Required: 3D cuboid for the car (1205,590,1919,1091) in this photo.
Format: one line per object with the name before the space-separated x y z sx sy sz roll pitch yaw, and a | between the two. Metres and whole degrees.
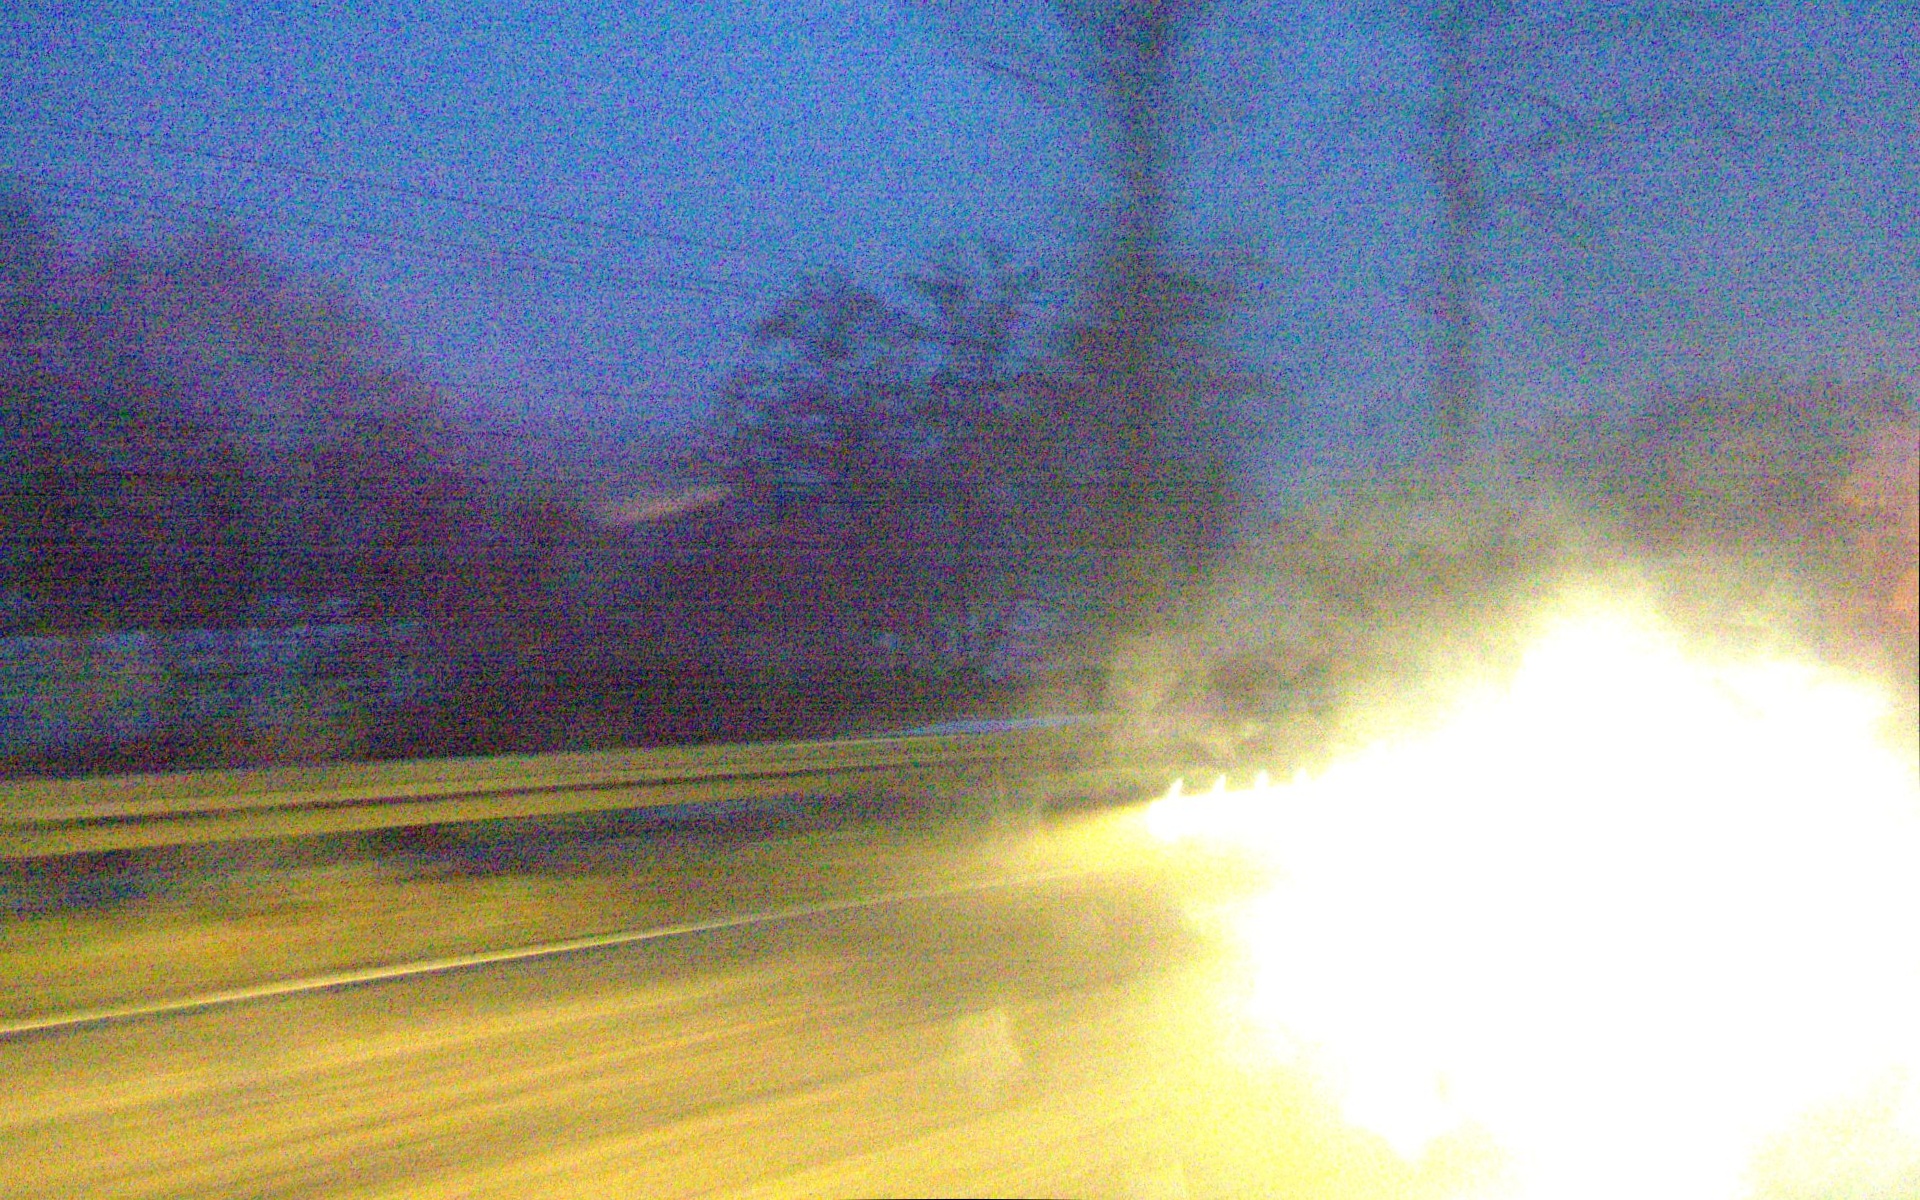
car | 3.576 0.821 4.945 4.518 1.490 1.912 3 -2 -29
